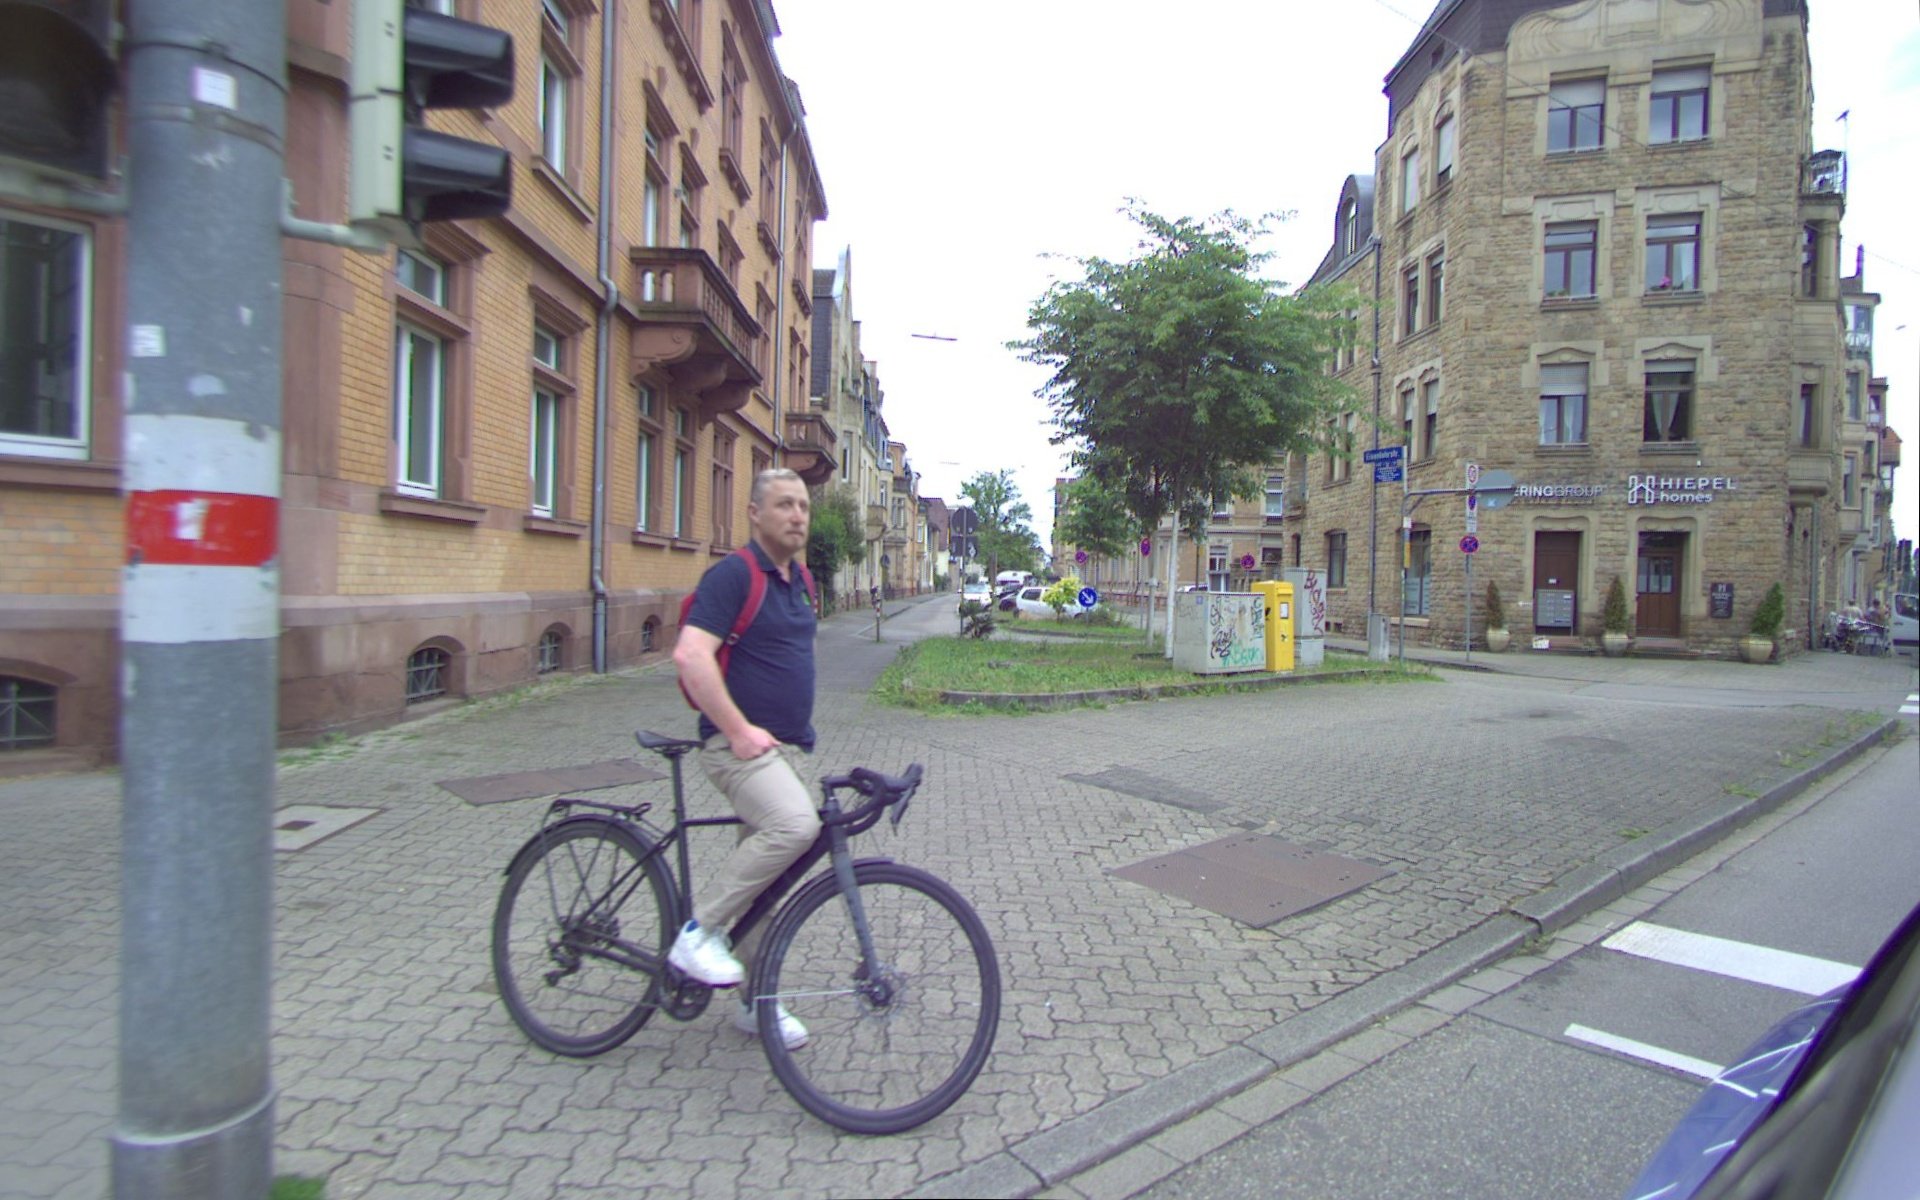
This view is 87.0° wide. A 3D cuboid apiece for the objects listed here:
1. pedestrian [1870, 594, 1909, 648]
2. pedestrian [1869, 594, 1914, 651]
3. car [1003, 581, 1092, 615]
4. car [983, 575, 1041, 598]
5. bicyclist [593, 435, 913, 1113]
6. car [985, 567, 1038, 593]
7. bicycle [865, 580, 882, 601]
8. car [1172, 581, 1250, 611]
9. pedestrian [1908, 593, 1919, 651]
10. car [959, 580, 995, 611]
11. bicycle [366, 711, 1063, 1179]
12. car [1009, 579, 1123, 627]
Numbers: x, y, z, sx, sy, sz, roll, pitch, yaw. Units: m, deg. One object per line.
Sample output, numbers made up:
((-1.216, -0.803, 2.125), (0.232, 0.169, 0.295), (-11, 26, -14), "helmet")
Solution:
((31.052, 0.697, 33.820), (0.695, 1.720, 0.490), (4, 2, 17), "pedestrian")
((29.730, 0.713, 32.300), (0.858, 1.720, 0.532), (4, 2, 31), "pedestrian")
((4.333, -0.121, 50.233), (4.010, 1.451, 1.737), (4, 2, 30), "car")
((5.053, -1.338, 98.917), (5.298, 2.048, 2.316), (3, 2, 38), "car")
((-0.604, 0.456, 3.225), (0.671, 1.818, 0.888), (1, 0, 13), "bicyclist")
((5.466, -2.153, 108.239), (5.298, 2.534, 2.316), (2, 1, 38), "car")
((-4.453, -0.504, 52.286), (0.559, 1.015, 1.777), (1, 1, 4), "bicycle")
((14.043, -0.234, 56.783), (3.972, 1.451, 1.754), (3, 2, 5), "car")
((31.101, 0.710, 32.737), (0.790, 1.837, 0.499), (1, 3, -45), "pedestrian")
((0.881, -0.273, 53.603), (1.722, 1.451, 4.045), (2, 2, -1), "car")
((-0.662, 0.881, 2.988), (1.839, 0.935, 0.793), (1, 0, 13), "bicycle")
((3.642, 0.075, 34.908), (3.517, 1.451, 1.687), (4, 2, 33), "car")
